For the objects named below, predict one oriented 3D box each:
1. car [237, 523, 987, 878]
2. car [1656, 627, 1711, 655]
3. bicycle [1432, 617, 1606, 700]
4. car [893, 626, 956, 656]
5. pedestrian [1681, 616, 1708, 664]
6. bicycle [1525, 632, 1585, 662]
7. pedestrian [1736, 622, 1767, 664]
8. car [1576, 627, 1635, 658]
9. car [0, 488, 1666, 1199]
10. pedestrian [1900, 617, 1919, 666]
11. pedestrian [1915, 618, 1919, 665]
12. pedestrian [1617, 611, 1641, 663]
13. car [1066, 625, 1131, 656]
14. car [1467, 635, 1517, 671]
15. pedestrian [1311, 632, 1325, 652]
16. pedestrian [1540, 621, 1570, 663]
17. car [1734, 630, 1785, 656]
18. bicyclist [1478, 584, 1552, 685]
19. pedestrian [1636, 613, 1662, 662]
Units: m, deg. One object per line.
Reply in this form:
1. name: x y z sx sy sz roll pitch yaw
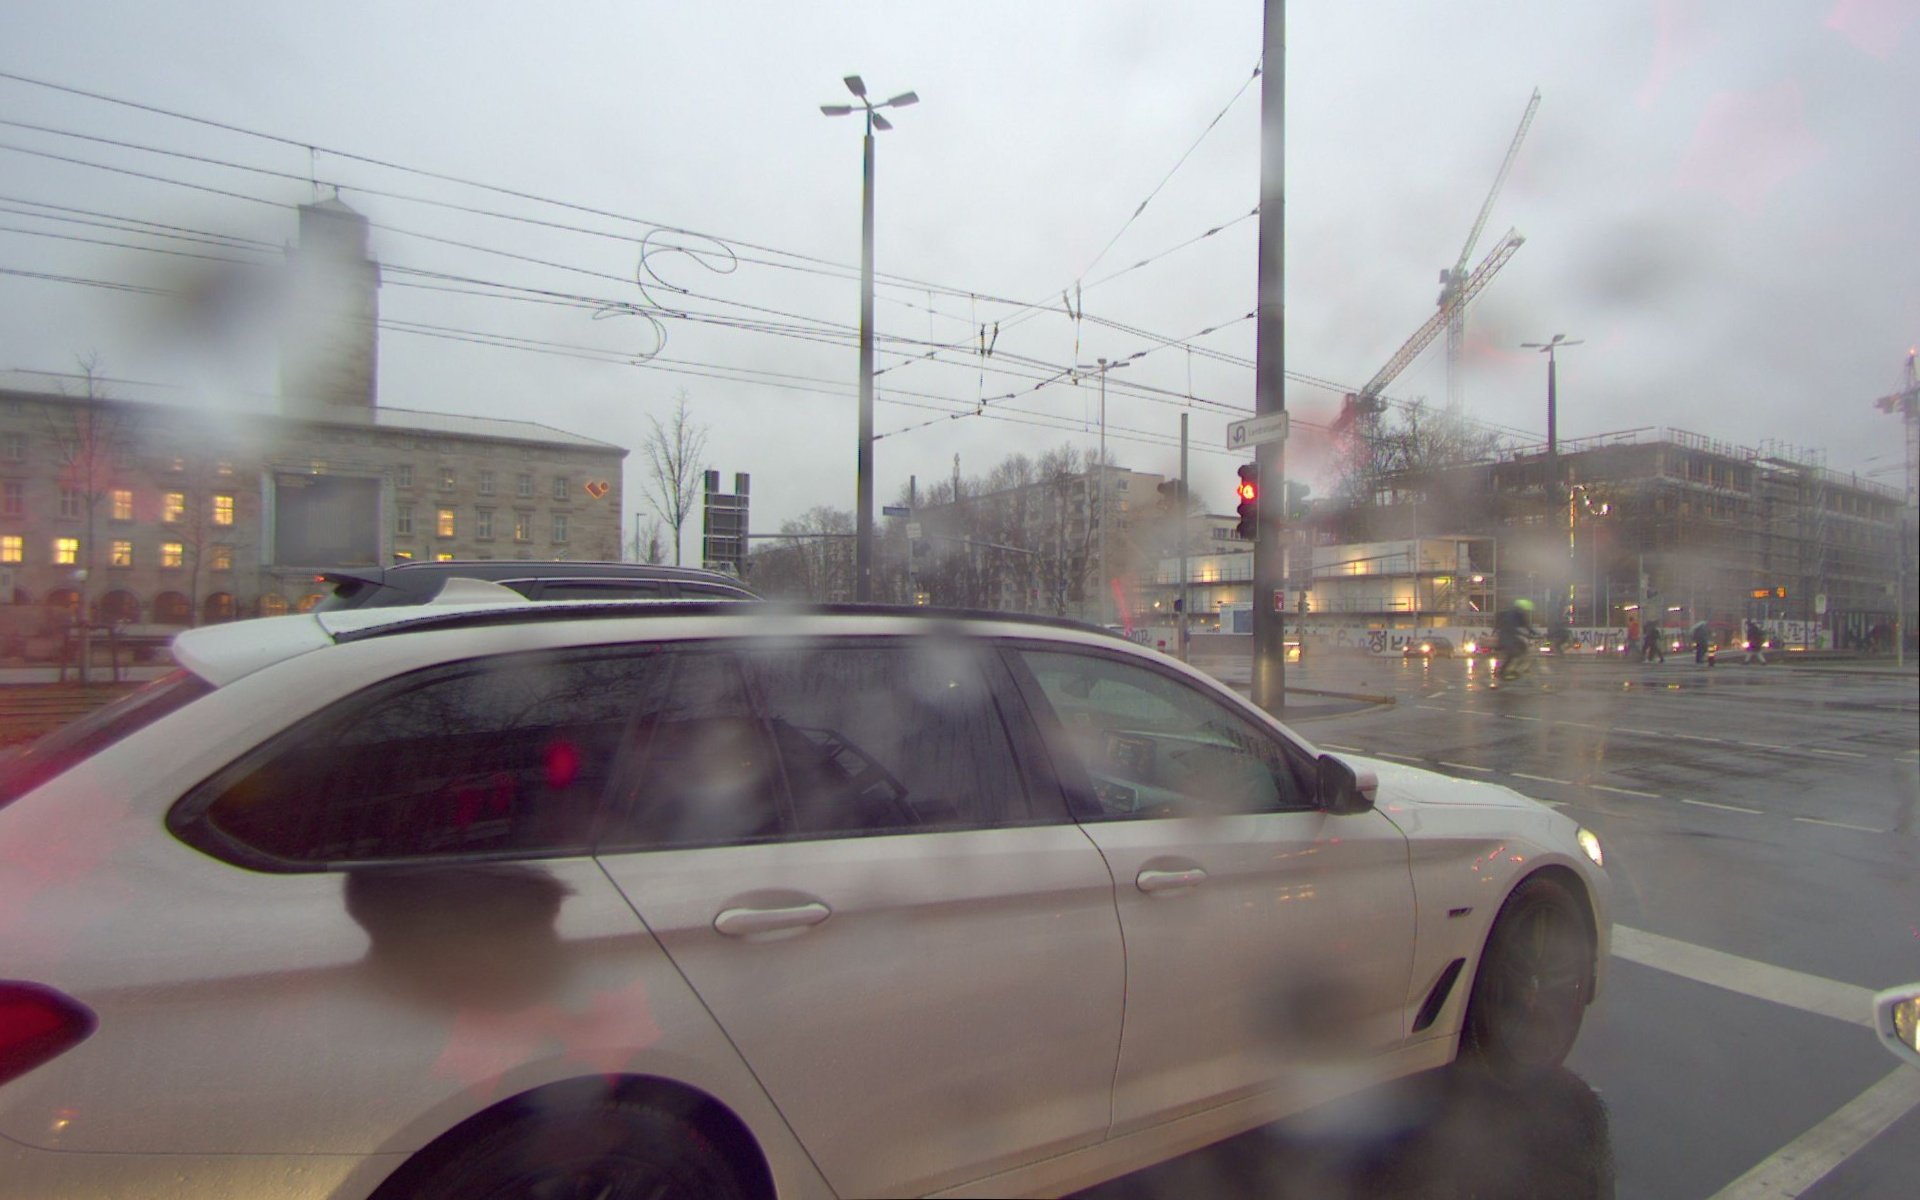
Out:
1. car: -2.156 0.571 6.998 4.564 1.766 1.692 2 -2 -34
2. car: 54.799 3.116 76.037 3.953 2.040 1.984 2 -2 -30
3. bicycle: 10.570 1.064 19.130 0.714 1.380 2.808 2 0 -38
4. car: -2.134 2.408 59.334 1.978 1.706 3.965 1 -2 -33
5. pedestrian: 31.226 1.696 42.697 0.741 2.040 0.785 2 -2 -40
6. bicycle: 23.194 1.813 39.185 0.533 1.004 2.127 6 -2 -18
7. pedestrian: 31.814 1.728 40.393 0.668 1.640 0.708 1 -1 -7
8. car: 43.811 2.904 68.144 3.959 2.040 1.981 2 -2 -34
9. car: -0.115 0.695 3.003 4.868 1.540 1.900 2 -2 -32
10. pedestrian: 33.957 1.474 35.510 0.608 1.701 0.832 1 -1 -11
11. pedestrian: 34.633 1.479 35.644 0.665 1.710 0.844 1 -1 -9
12. pedestrian: 27.784 1.536 41.719 0.674 2.115 0.613 0 -1 20
13. car: 8.189 2.396 59.837 1.685 1.785 4.287 1 -2 -27
14. car: 31.216 3.078 58.900 1.736 2.040 3.980 -1 -2 41
15. pedestrian: 26.730 3.135 75.018 0.786 1.549 0.642 1 -2 -26
16. pedestrian: 23.210 1.626 39.201 0.528 1.590 0.814 4 -3 -18
17. car: 64.525 3.432 81.066 3.953 2.040 1.984 2 -2 -30
18. bicyclist: 10.556 0.642 19.119 0.715 1.863 0.986 2 0 -39
19. pedestrian: 28.673 1.550 41.784 0.762 2.040 0.613 0 -1 22
